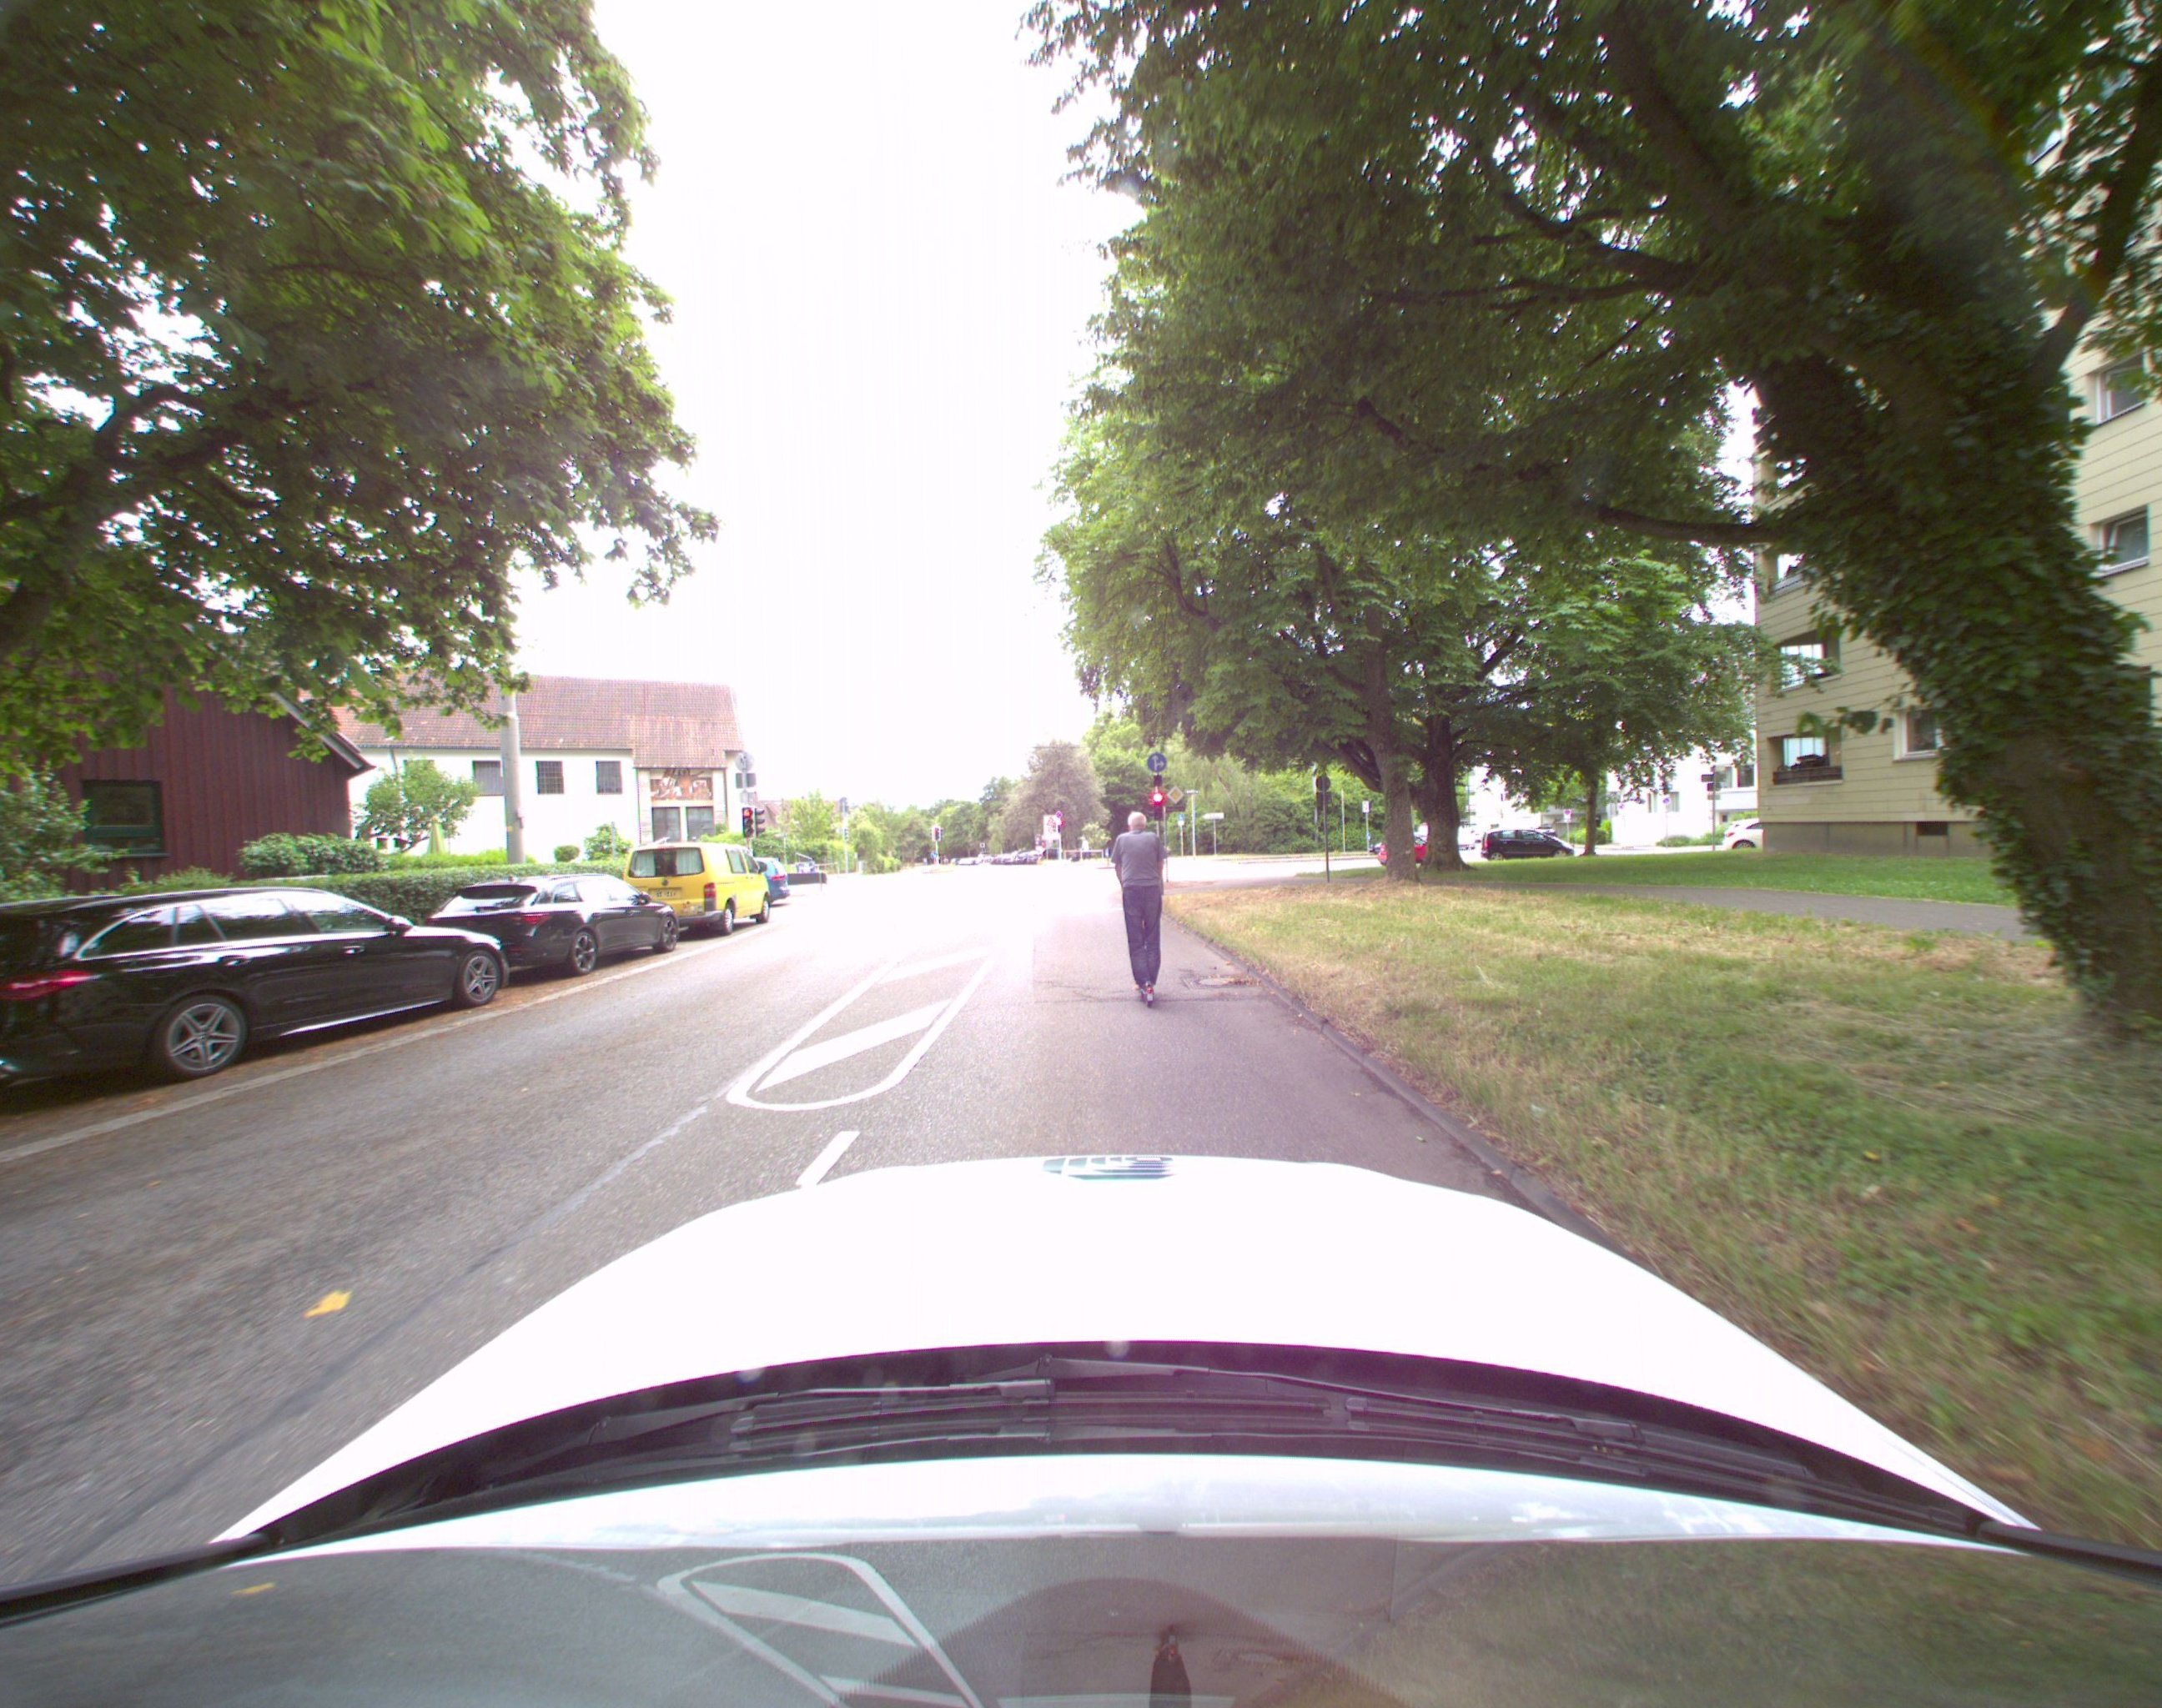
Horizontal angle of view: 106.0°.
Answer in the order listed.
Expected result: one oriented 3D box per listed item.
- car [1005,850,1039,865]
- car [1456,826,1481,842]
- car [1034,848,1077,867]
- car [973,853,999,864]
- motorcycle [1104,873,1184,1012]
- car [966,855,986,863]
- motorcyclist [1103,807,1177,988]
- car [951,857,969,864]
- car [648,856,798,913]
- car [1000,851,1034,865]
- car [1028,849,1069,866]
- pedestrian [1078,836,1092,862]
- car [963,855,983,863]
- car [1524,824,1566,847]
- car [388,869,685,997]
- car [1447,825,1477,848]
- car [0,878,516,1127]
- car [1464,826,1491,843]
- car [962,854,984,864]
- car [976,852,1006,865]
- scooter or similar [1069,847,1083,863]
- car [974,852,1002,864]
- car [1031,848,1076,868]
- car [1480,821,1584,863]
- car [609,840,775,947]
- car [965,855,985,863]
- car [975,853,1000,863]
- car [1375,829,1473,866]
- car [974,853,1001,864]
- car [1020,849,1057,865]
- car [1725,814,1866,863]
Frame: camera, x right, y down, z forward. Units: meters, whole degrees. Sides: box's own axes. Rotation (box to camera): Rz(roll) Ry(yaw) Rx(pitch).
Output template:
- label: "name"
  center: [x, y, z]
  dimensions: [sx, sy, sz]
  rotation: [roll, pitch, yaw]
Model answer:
- label: "car"
  center: [-7.209, 0.442, 98.954]
  dimensions: [3.980, 1.510, 1.797]
  rotation: [-3, 0, -5]
- label: "car"
  center: [41.346, -2.101, 86.886]
  dimensions: [1.780, 1.613, 4.018]
  rotation: [-3, 0, 17]
- label: "car"
  center: [-2.493, 0.324, 78.066]
  dimensions: [3.980, 1.510, 1.797]
  rotation: [-3, 0, -5]
- label: "car"
  center: [-15.492, 0.724, 132.789]
  dimensions: [3.980, 1.510, 1.797]
  rotation: [-3, 0, -5]
- label: "motorcycle"
  center: [0.594, 0.828, 8.089]
  dimensions: [0.671, 1.217, 1.273]
  rotation: [-1, 0, 0]
- label: "car"
  center: [-21.357, 1.041, 165.719]
  dimensions: [3.980, 1.510, 1.797]
  rotation: [-3, 0, -5]
- label: "motorcyclist"
  center: [0.584, 0.424, 8.312]
  dimensions: [0.671, 1.761, 0.638]
  rotation: [-1, 0, -1]
- label: "car"
  center: [-27.876, 1.457, 187.761]
  dimensions: [3.980, 1.510, 1.797]
  rotation: [-3, 0, -5]
- label: "car"
  center: [-11.459, 0.939, 26.292]
  dimensions: [3.984, 1.510, 1.796]
  rotation: [-3, 2, -8]
- label: "car"
  center: [-7.921, 0.448, 100.859]
  dimensions: [3.980, 1.510, 1.797]
  rotation: [-3, 0, -5]
- label: "car"
  center: [-3.310, 0.347, 81.825]
  dimensions: [3.980, 1.510, 1.797]
  rotation: [-3, 0, -5]
- label: "pedestrian"
  center: [0.255, -0.343, 55.890]
  dimensions: [0.726, 1.761, 0.665]
  rotation: [-3, 0, 17]
- label: "car"
  center: [-22.689, 1.065, 170.487]
  dimensions: [3.980, 1.510, 1.797]
  rotation: [-3, 0, -5]
- label: "car"
  center: [34.418, -1.359, 60.467]
  dimensions: [2.065, 1.510, 4.021]
  rotation: [-3, 0, 21]
- label: "car"
  center: [-7.940, 1.043, 12.470]
  dimensions: [1.790, 1.415, 4.185]
  rotation: [-3, 0, -3]
- label: "car"
  center: [27.232, -1.245, 58.104]
  dimensions: [1.777, 1.510, 4.024]
  rotation: [-3, 0, 27]
- label: "car"
  center: [-7.607, 1.042, 7.301]
  dimensions: [1.886, 1.410, 4.551]
  rotation: [-3, 0, -1]
- label: "car"
  center: [39.933, -1.965, 82.135]
  dimensions: [1.780, 1.510, 4.018]
  rotation: [-3, 0, 17]
- label: "car"
  center: [-20.452, 0.955, 154.066]
  dimensions: [3.980, 1.510, 1.797]
  rotation: [-3, 0, -5]
- label: "car"
  center: [-12.676, 0.628, 115.100]
  dimensions: [3.980, 1.510, 1.797]
  rotation: [-3, 0, -5]
- label: "scooter or similar"
  center: [-0.324, 0.055, 56.345]
  dimensions: [0.704, 1.049, 0.791]
  rotation: [-3, 0, 17]
- label: "car"
  center: [-14.284, 0.634, 125.267]
  dimensions: [3.980, 1.510, 1.797]
  rotation: [-3, 0, -5]
- label: "car"
  center: [-2.517, 0.360, 74.486]
  dimensions: [3.980, 1.510, 1.797]
  rotation: [-3, 0, -5]
- label: "car"
  center: [20.223, -0.541, 36.727]
  dimensions: [3.951, 1.726, 1.811]
  rotation: [0, 4, 23]
- label: "car"
  center: [-8.405, 0.734, 18.097]
  dimensions: [1.856, 1.963, 4.494]
  rotation: [-3, 1, -7]
- label: "car"
  center: [-21.828, 1.060, 167.981]
  dimensions: [3.980, 1.510, 1.797]
  rotation: [-3, 0, -5]
- label: "car"
  center: [-15.540, 0.689, 135.506]
  dimensions: [3.980, 1.510, 1.797]
  rotation: [-3, 0, -5]
- label: "car"
  center: [15.933, -0.320, 38.003]
  dimensions: [3.962, 1.557, 1.806]
  rotation: [-1, 3, 10]
- label: "car"
  center: [-13.966, 0.669, 121.734]
  dimensions: [3.980, 1.510, 1.797]
  rotation: [-3, 0, -5]
- label: "car"
  center: [-4.648, 0.361, 88.689]
  dimensions: [3.980, 1.510, 1.797]
  rotation: [-3, 0, -5]
- label: "car"
  center: [27.482, -0.597, 31.393]
  dimensions: [1.811, 1.741, 3.951]
  rotation: [-4, 3, -44]
